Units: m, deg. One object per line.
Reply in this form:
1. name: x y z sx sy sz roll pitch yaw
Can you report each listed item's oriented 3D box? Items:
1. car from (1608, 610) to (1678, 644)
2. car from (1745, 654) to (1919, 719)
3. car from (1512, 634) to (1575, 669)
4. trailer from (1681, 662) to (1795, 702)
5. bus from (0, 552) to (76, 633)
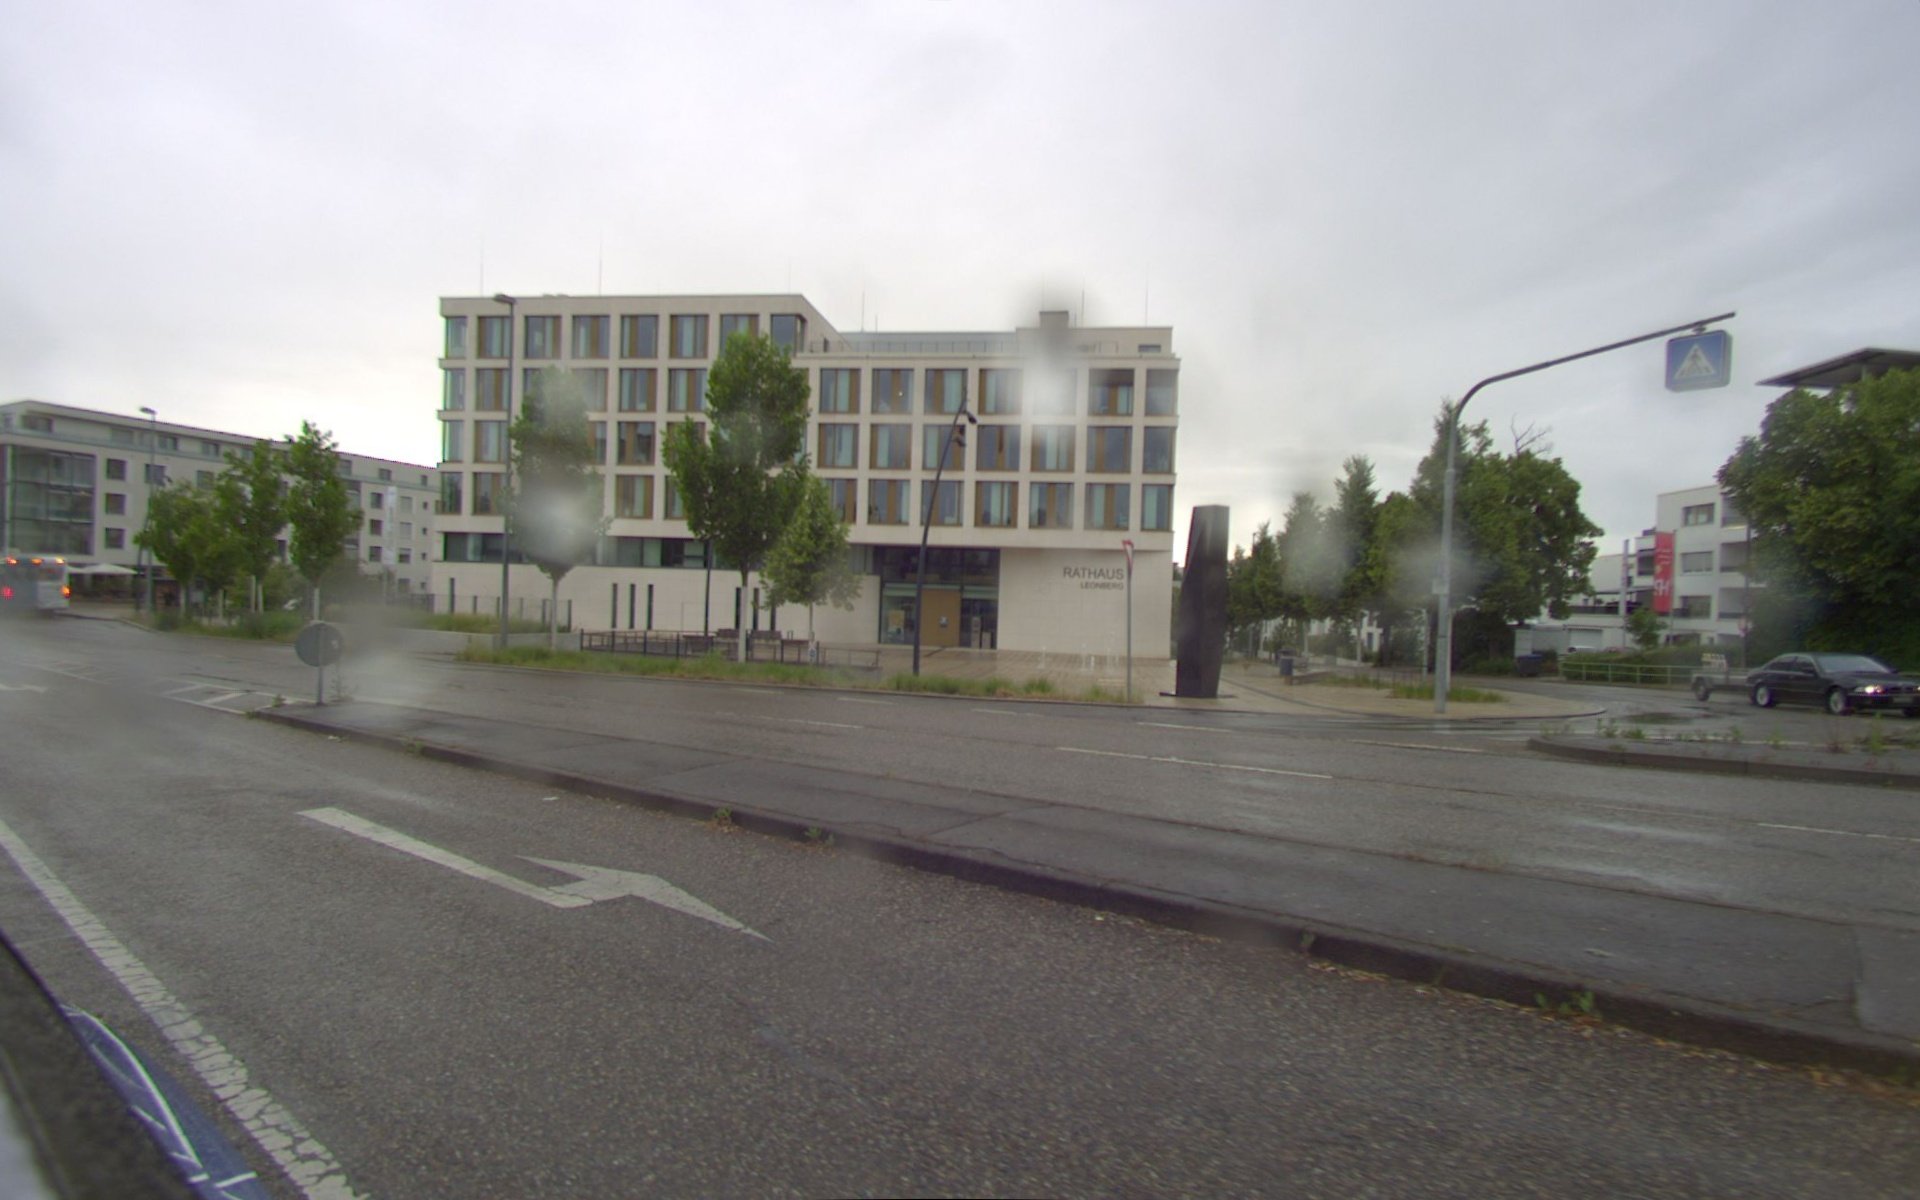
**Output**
1. car: 43.381 1.692 64.408 1.766 2.029 3.999 0 0 0
2. car: 20.985 1.989 23.924 1.843 1.328 4.345 1 -2 7
3. car: 38.107 3.324 66.183 1.766 2.029 3.999 0 0 0
4. trailer: 21.907 2.290 28.589 1.589 0.986 2.281 1 -2 8
5. bus: -54.640 -0.314 57.036 18.187 4.025 2.918 0 -2 35
